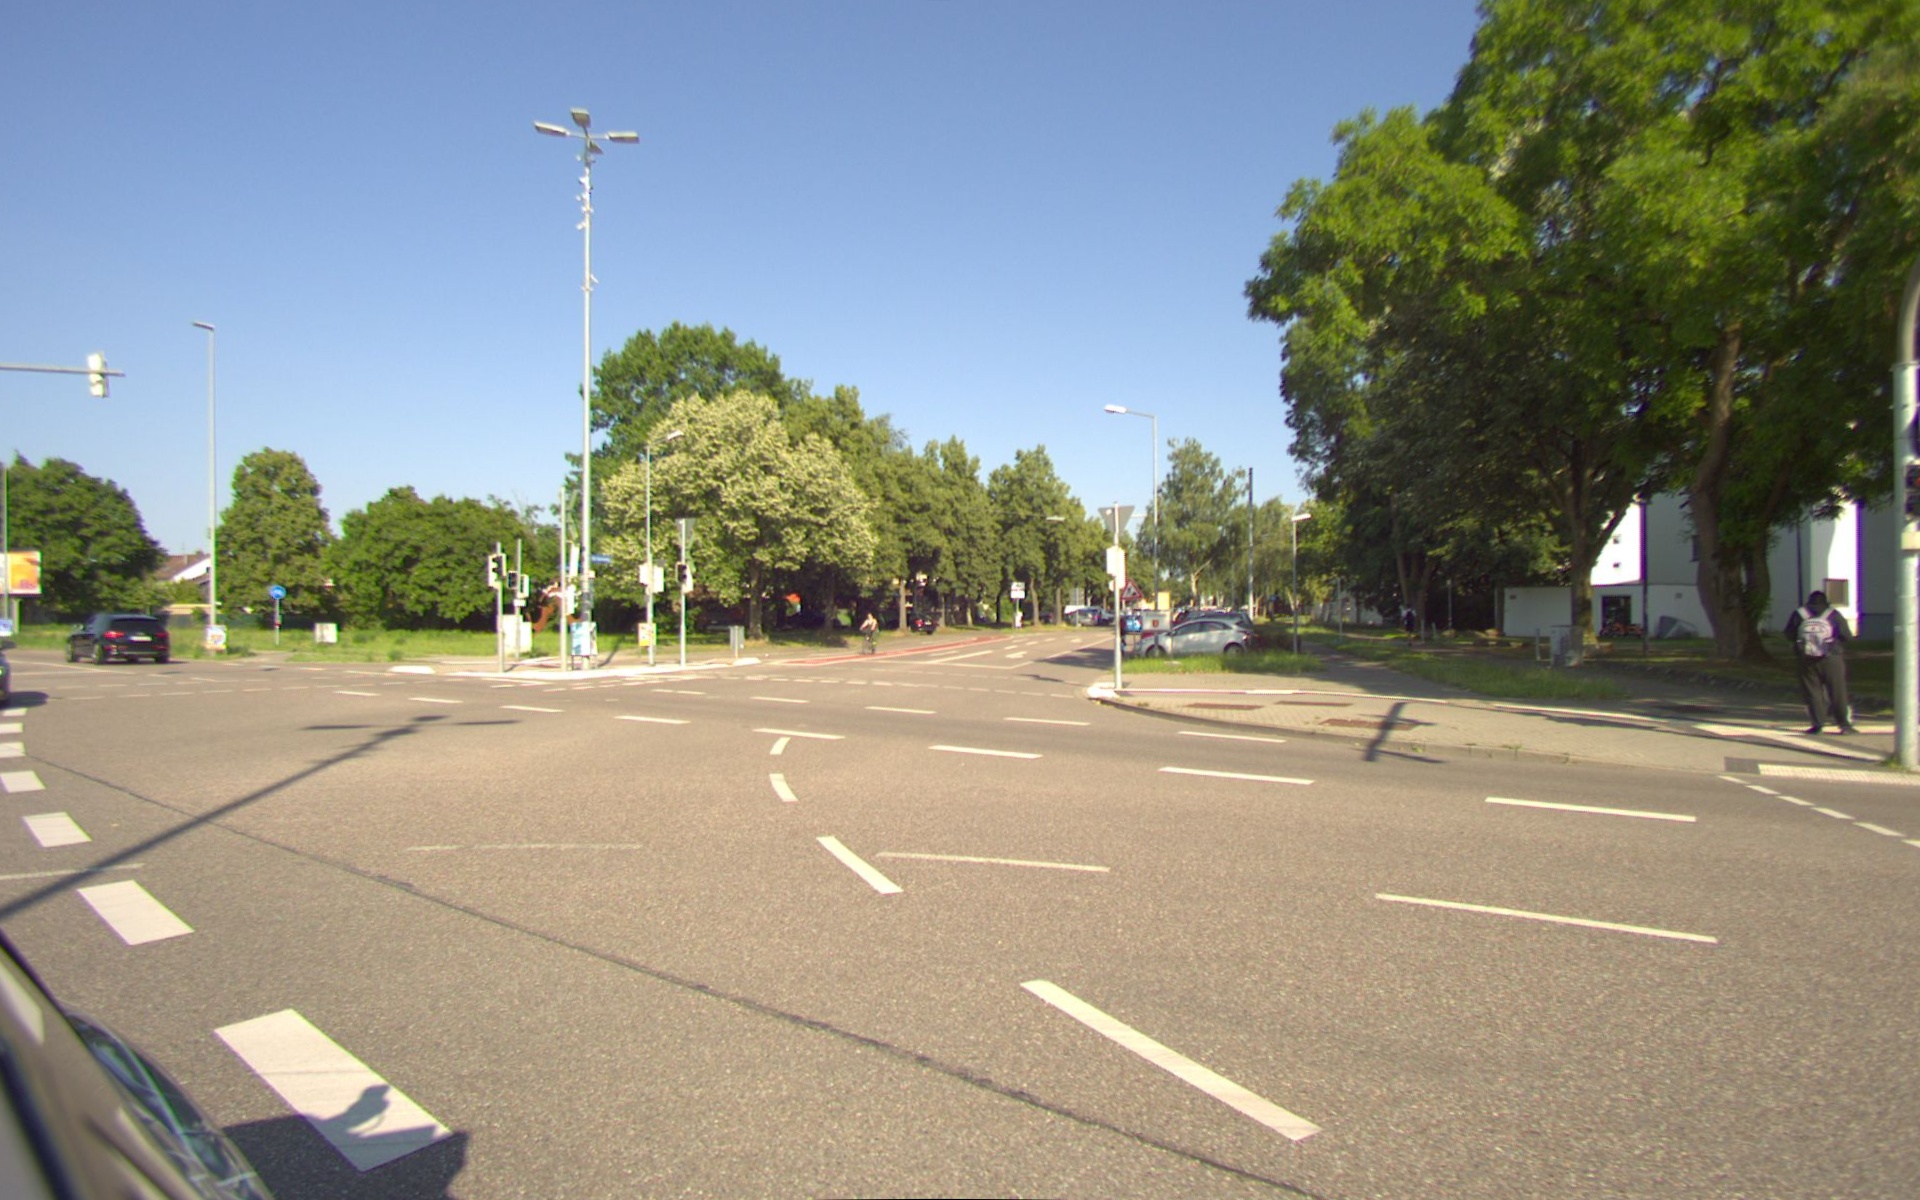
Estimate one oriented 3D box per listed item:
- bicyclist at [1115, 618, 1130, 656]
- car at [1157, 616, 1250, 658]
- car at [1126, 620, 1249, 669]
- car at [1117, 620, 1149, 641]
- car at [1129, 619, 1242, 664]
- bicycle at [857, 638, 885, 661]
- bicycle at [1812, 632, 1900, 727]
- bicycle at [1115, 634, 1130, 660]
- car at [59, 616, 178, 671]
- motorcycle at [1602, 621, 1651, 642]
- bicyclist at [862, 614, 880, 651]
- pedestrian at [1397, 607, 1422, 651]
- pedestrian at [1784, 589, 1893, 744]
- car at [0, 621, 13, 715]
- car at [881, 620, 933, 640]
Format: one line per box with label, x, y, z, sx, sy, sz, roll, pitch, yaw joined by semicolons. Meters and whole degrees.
bicyclist;6.829;1.563;42.608;0.603;1.572;0.601;-1;-1;11
car;10.972;1.667;45.609;3.966;1.824;1.775;-1;-1;17
car;7.949;1.560;35.332;3.967;1.450;1.774;-4;-2;18
car;12.382;2.153;72.090;1.770;1.425;4.221;0;-1;16
car;8.585;1.571;38.500;3.969;1.426;1.774;-5;-2;20
bicycle;-3.741;2.086;42.690;0.648;0.910;1.801;-1;-1;14
bicycle;11.792;1.001;13.367;0.631;1.127;1.892;-1;-1;35
bicycle;6.842;1.975;42.614;0.615;1.048;2.065;-1;-1;10
car;-27.549;1.389;33.099;4.375;1.672;1.971;-1;-2;36
motorcycle;31.949;1.513;48.549;0.517;0.972;2.050;0;-1;-21
bicyclist;-3.752;1.377;42.660;0.610;1.535;0.627;-2;-1;3
pedestrian;18.085;1.161;40.724;0.616;1.726;0.705;0;-1;-42
pedestrian;10.546;0.766;12.181;0.931;1.765;0.807;-2;-1;41
car;-16.826;1.069;16.283;4.458;1.435;1.798;-1;-1;40
car;-3.807;2.084;71.531;1.500;1.330;4.783;0;-1;-33
